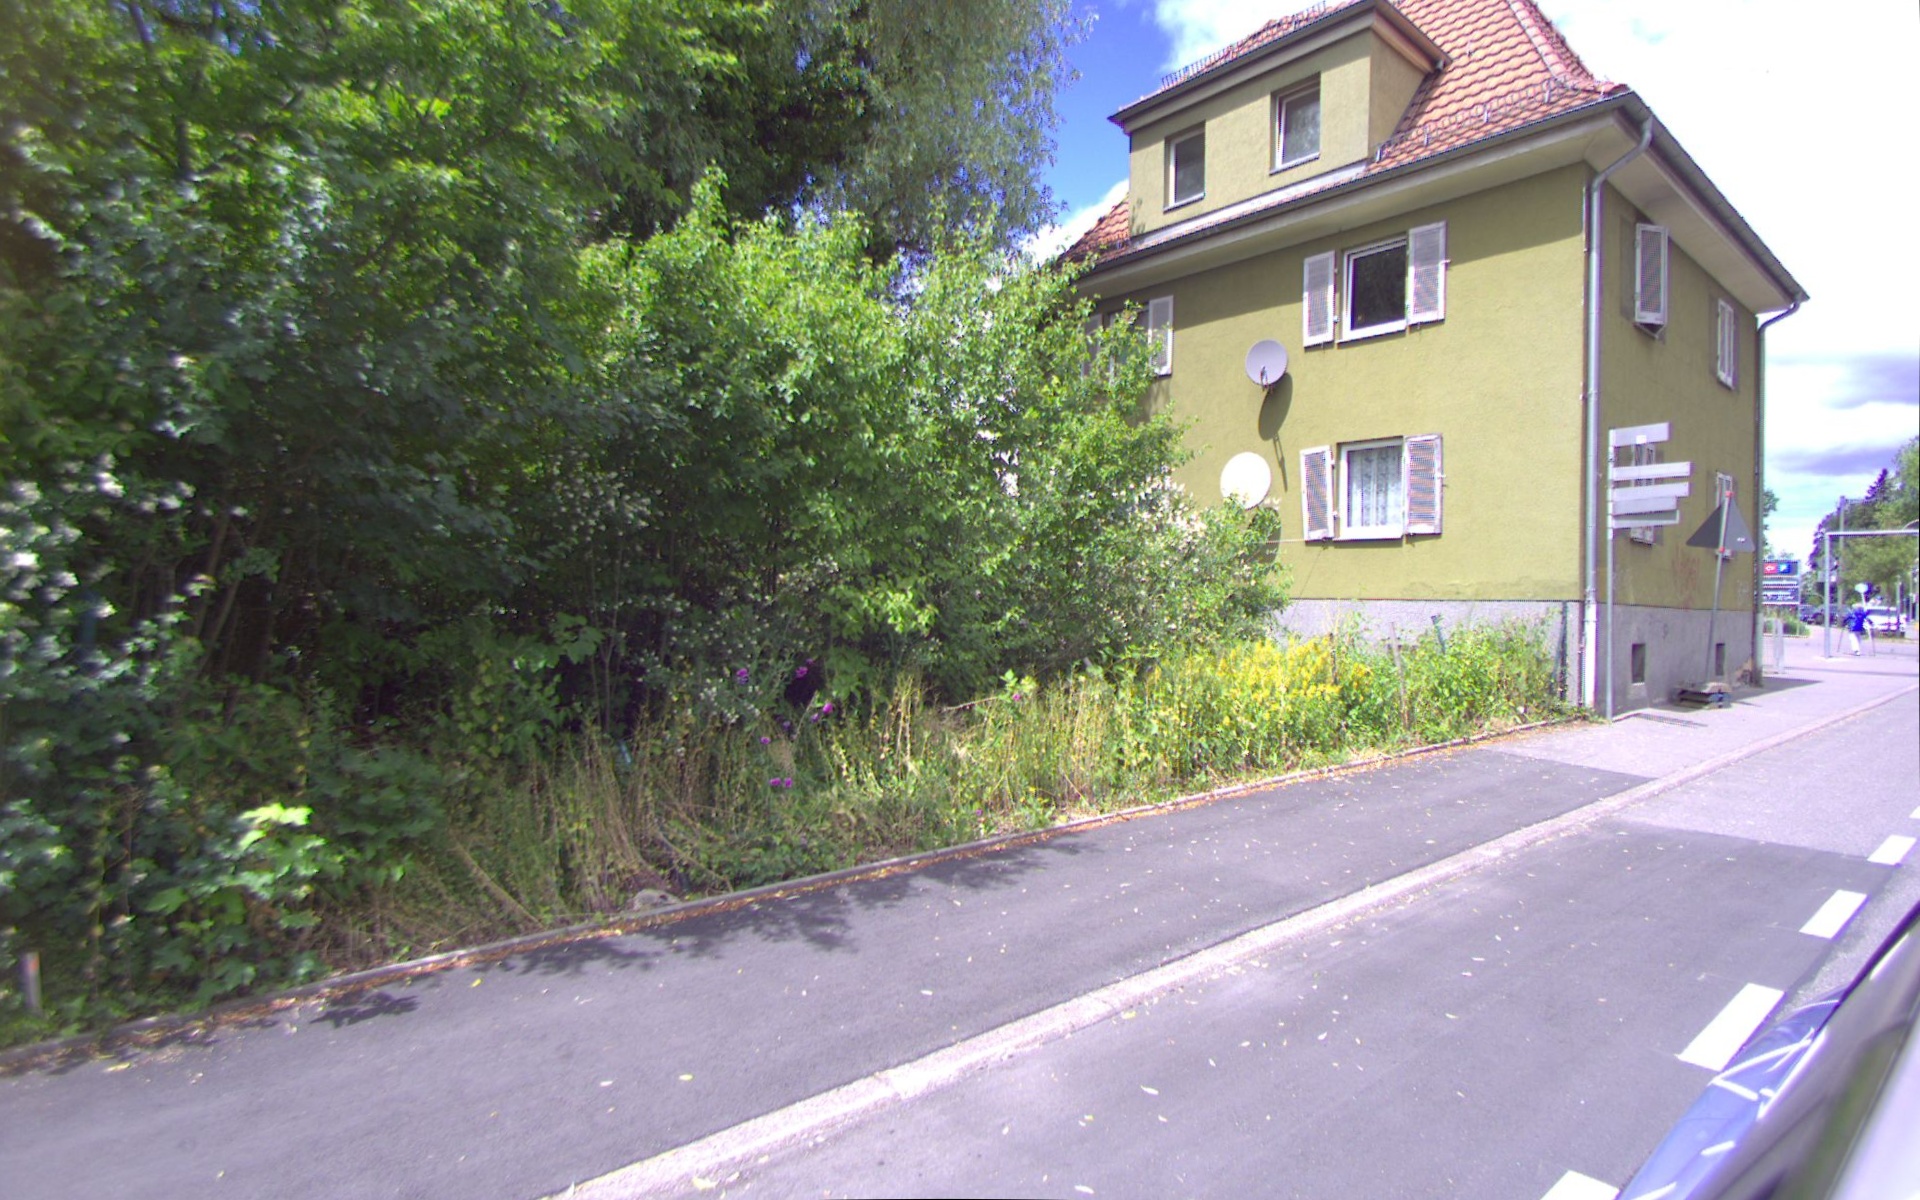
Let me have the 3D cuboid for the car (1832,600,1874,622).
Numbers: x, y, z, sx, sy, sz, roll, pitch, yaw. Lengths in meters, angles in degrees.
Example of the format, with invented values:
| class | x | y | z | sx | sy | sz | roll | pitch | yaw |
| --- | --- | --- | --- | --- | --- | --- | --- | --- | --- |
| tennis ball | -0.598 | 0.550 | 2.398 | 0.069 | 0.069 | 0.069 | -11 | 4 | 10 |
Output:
| class | x | y | z | sx | sy | sz | roll | pitch | yaw |
| --- | --- | --- | --- | --- | --- | --- | --- | --- | --- |
| car | 64.980 | 0.777 | 73.677 | 1.694 | 1.551 | 3.951 | -1 | -1 | 34 |

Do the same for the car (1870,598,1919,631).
| class | x | y | z | sx | sy | sz | roll | pitch | yaw |
| --- | --- | --- | --- | --- | --- | --- | --- | --- | --- |
| car | 47.525 | 0.699 | 51.357 | 1.788 | 1.549 | 3.864 | 4 | 2 | 40 |

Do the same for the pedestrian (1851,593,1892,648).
| class | x | y | z | sx | sy | sz | roll | pitch | yaw |
| --- | --- | --- | --- | --- | --- | --- | --- | --- | --- |
| pedestrian | 27.101 | 0.585 | 30.090 | 0.824 | 1.592 | 0.972 | 2 | 1 | 45 |
